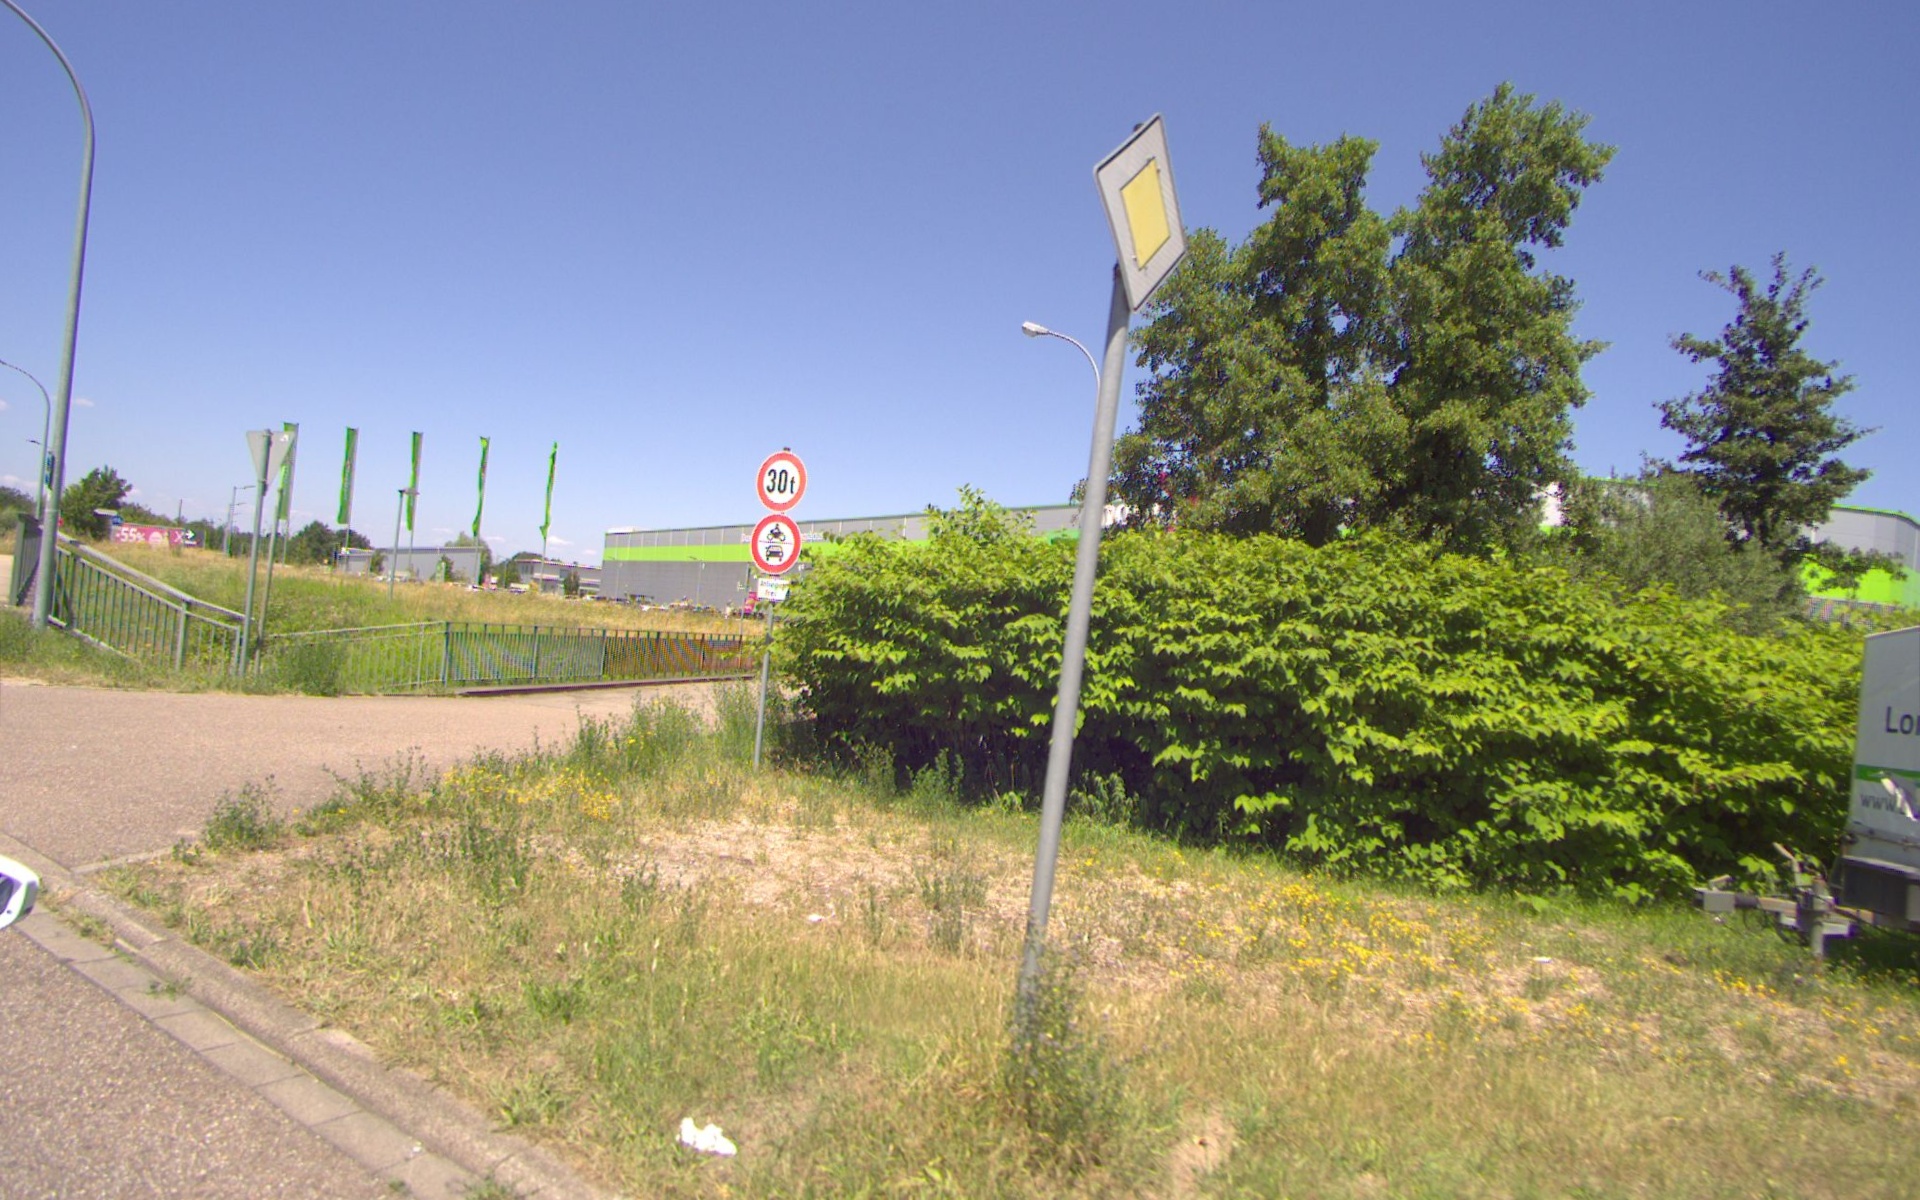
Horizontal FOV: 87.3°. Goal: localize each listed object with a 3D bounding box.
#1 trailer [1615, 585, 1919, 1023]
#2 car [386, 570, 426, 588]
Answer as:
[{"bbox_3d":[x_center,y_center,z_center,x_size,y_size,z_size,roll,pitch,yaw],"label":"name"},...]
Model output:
[{"bbox_3d":[6.337,1.203,5.654,3.893,2.102,1.854,6,-1,7],"label":"trailer"},{"bbox_3d":[-62.778,-2.363,114.017,3.716,1.589,1.873,8,-2,-36],"label":"car"}]
